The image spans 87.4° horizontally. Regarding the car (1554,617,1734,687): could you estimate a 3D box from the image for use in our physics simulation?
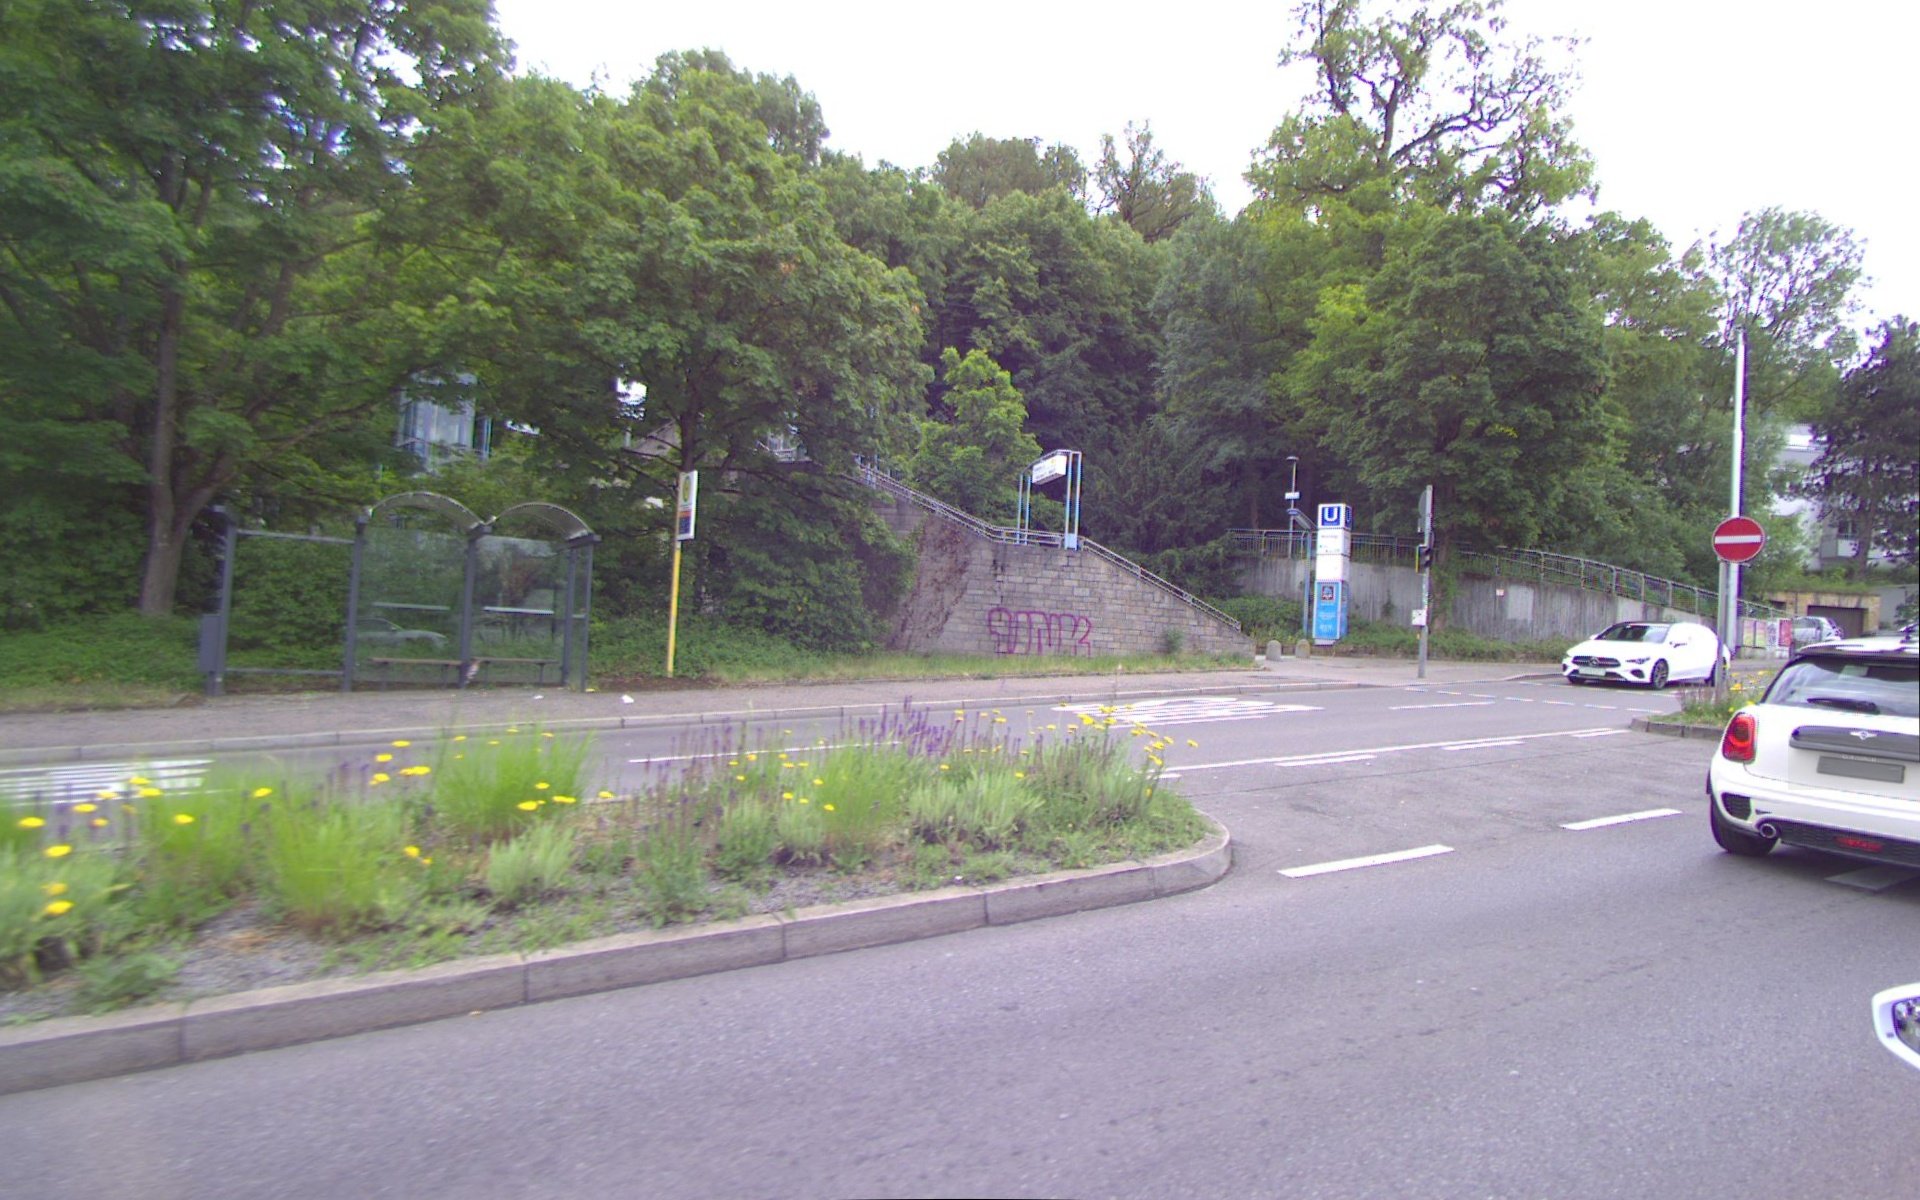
[{"bbox_3d":[15.420,1.114,22.575,4.558,1.412,1.708,1,-1,-33],"label":"car"}]

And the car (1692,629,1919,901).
[{"bbox_3d":[6.441,0.902,6.374,3.523,1.412,1.620,1,-1,-30],"label":"car"}]

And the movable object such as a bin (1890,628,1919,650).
[{"bbox_3d":[45.569,1.888,48.468,0.715,1.025,0.641,2,1,6],"label":"movable object such as a bin"}]

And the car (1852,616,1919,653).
[{"bbox_3d":[40.840,1.471,42.776,4.064,1.560,1.594,0,0,35],"label":"car"}]

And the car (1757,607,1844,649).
[{"bbox_3d":[35.663,1.171,42.706,2.667,1.540,1.558,4,2,37],"label":"car"}]
